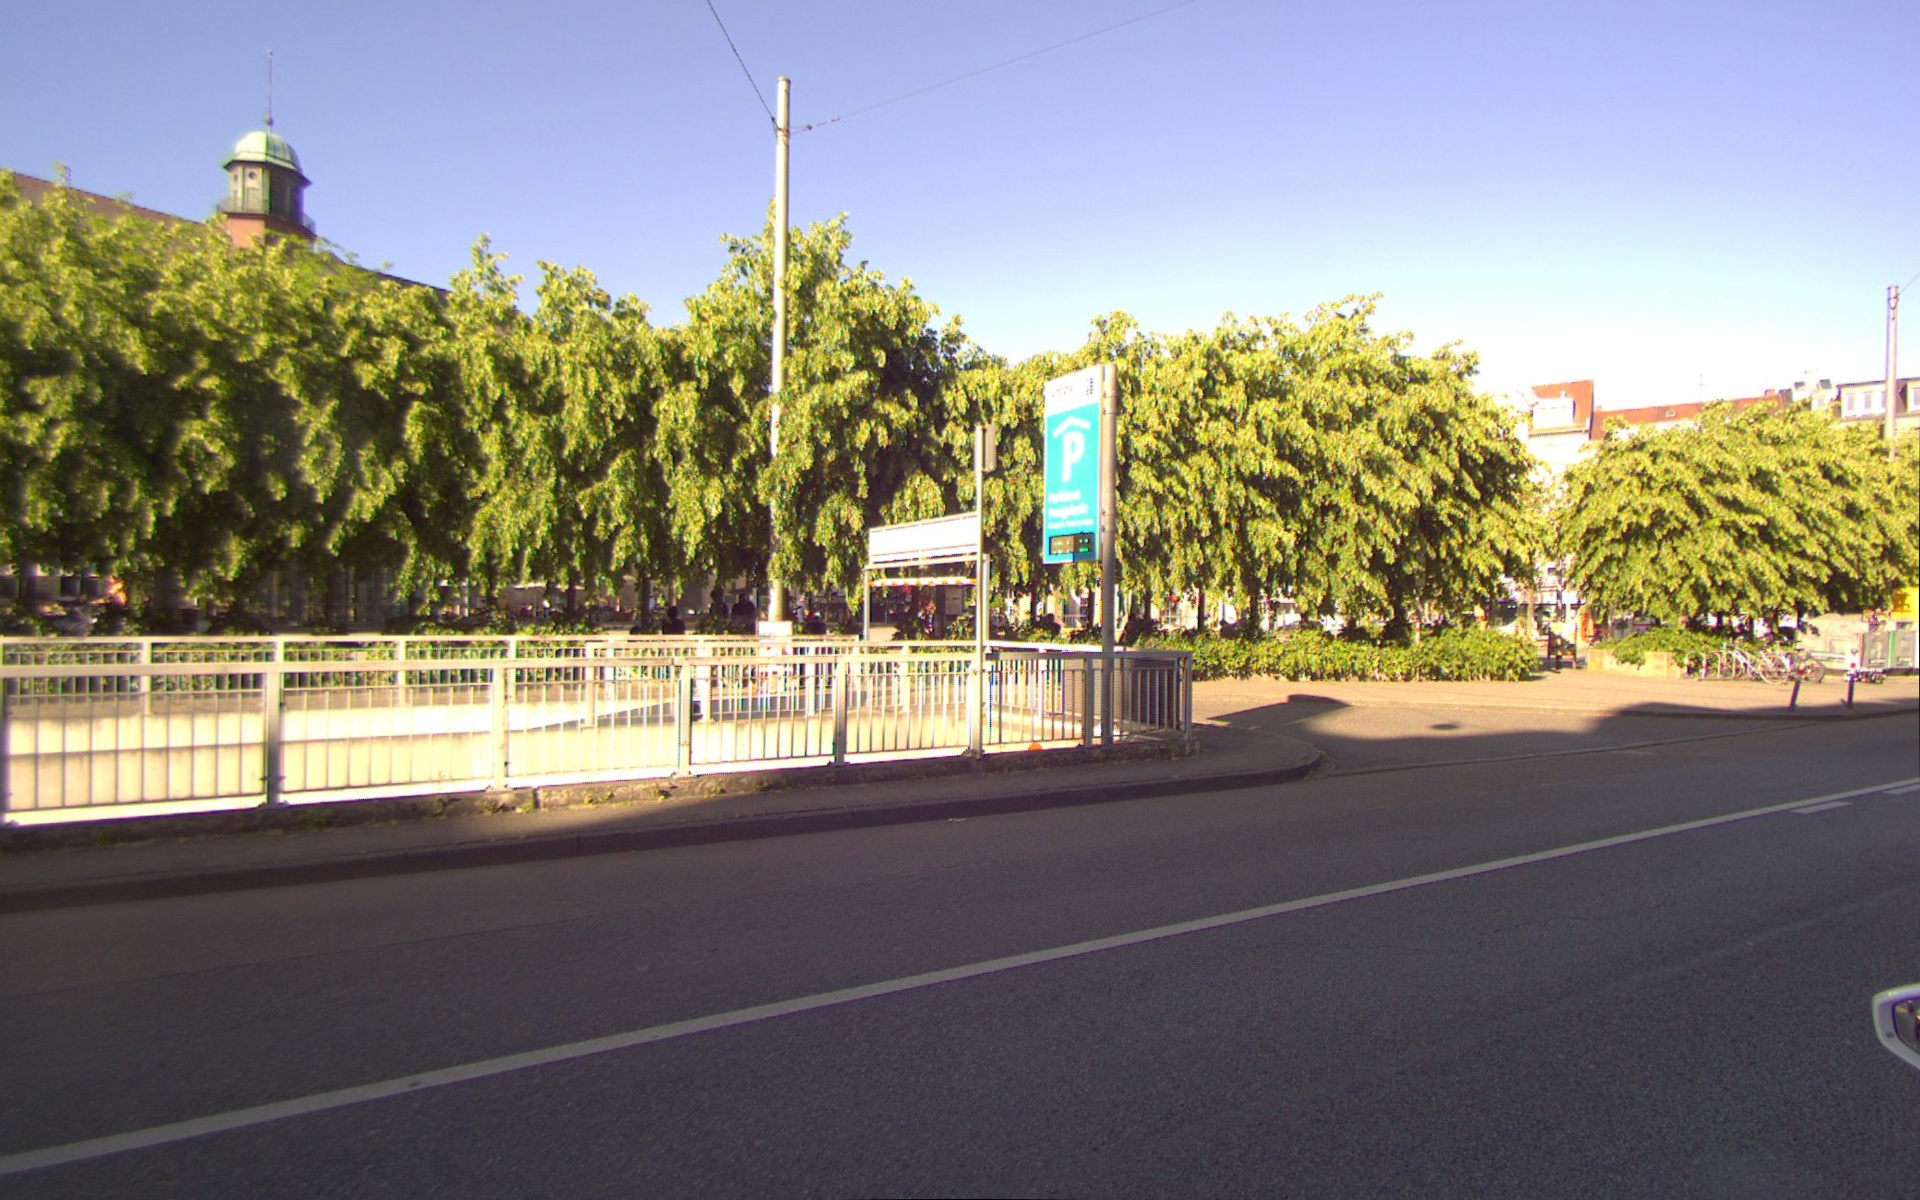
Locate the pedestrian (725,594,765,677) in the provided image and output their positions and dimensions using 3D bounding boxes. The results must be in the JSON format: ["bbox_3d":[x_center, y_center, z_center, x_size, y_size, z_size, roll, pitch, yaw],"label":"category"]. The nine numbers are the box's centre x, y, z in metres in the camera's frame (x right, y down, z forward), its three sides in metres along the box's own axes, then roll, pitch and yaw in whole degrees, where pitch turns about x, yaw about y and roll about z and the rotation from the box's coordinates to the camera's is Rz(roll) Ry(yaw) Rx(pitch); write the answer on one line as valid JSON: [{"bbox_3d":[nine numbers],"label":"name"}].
[{"bbox_3d":[-4.969,0.804,23.215,0.672,1.881,0.576,1,1,-41],"label":"pedestrian"}]

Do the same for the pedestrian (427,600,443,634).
[{"bbox_3d":[-28.361,0.937,54.268,0.596,1.816,0.576,1,1,-40],"label":"pedestrian"}]

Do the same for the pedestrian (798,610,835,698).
[{"bbox_3d":[-3.163,1.175,22.130,0.595,1.881,0.577,1,0,-33],"label":"pedestrian"}]

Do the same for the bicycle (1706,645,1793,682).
[{"bbox_3d":[19.127,1.515,24.364,0.467,0.779,1.654,1,0,-20],"label":"bicycle"}]

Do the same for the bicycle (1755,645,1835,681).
[{"bbox_3d":[20.889,1.567,25.154,0.468,0.779,1.468,1,0,-26],"label":"bicycle"}]

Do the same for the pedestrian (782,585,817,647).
[{"bbox_3d":[-4.707,0.452,29.346,0.918,1.775,0.728,1,0,-14],"label":"pedestrian"}]

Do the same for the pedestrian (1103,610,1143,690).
[{"bbox_3d":[3.944,1.200,24.307,0.722,1.881,0.578,1,0,-27],"label":"pedestrian"}]

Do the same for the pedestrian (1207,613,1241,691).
[{"bbox_3d":[6.544,1.270,24.868,0.574,1.881,0.598,2,1,41],"label":"pedestrian"}]

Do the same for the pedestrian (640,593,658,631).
[{"bbox_3d":[-14.885,0.578,48.040,0.597,1.816,0.575,1,1,-43],"label":"pedestrian"}]

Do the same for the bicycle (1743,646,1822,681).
[{"bbox_3d":[20.386,1.563,24.922,0.435,0.779,1.469,1,0,-24],"label":"bicycle"}]
